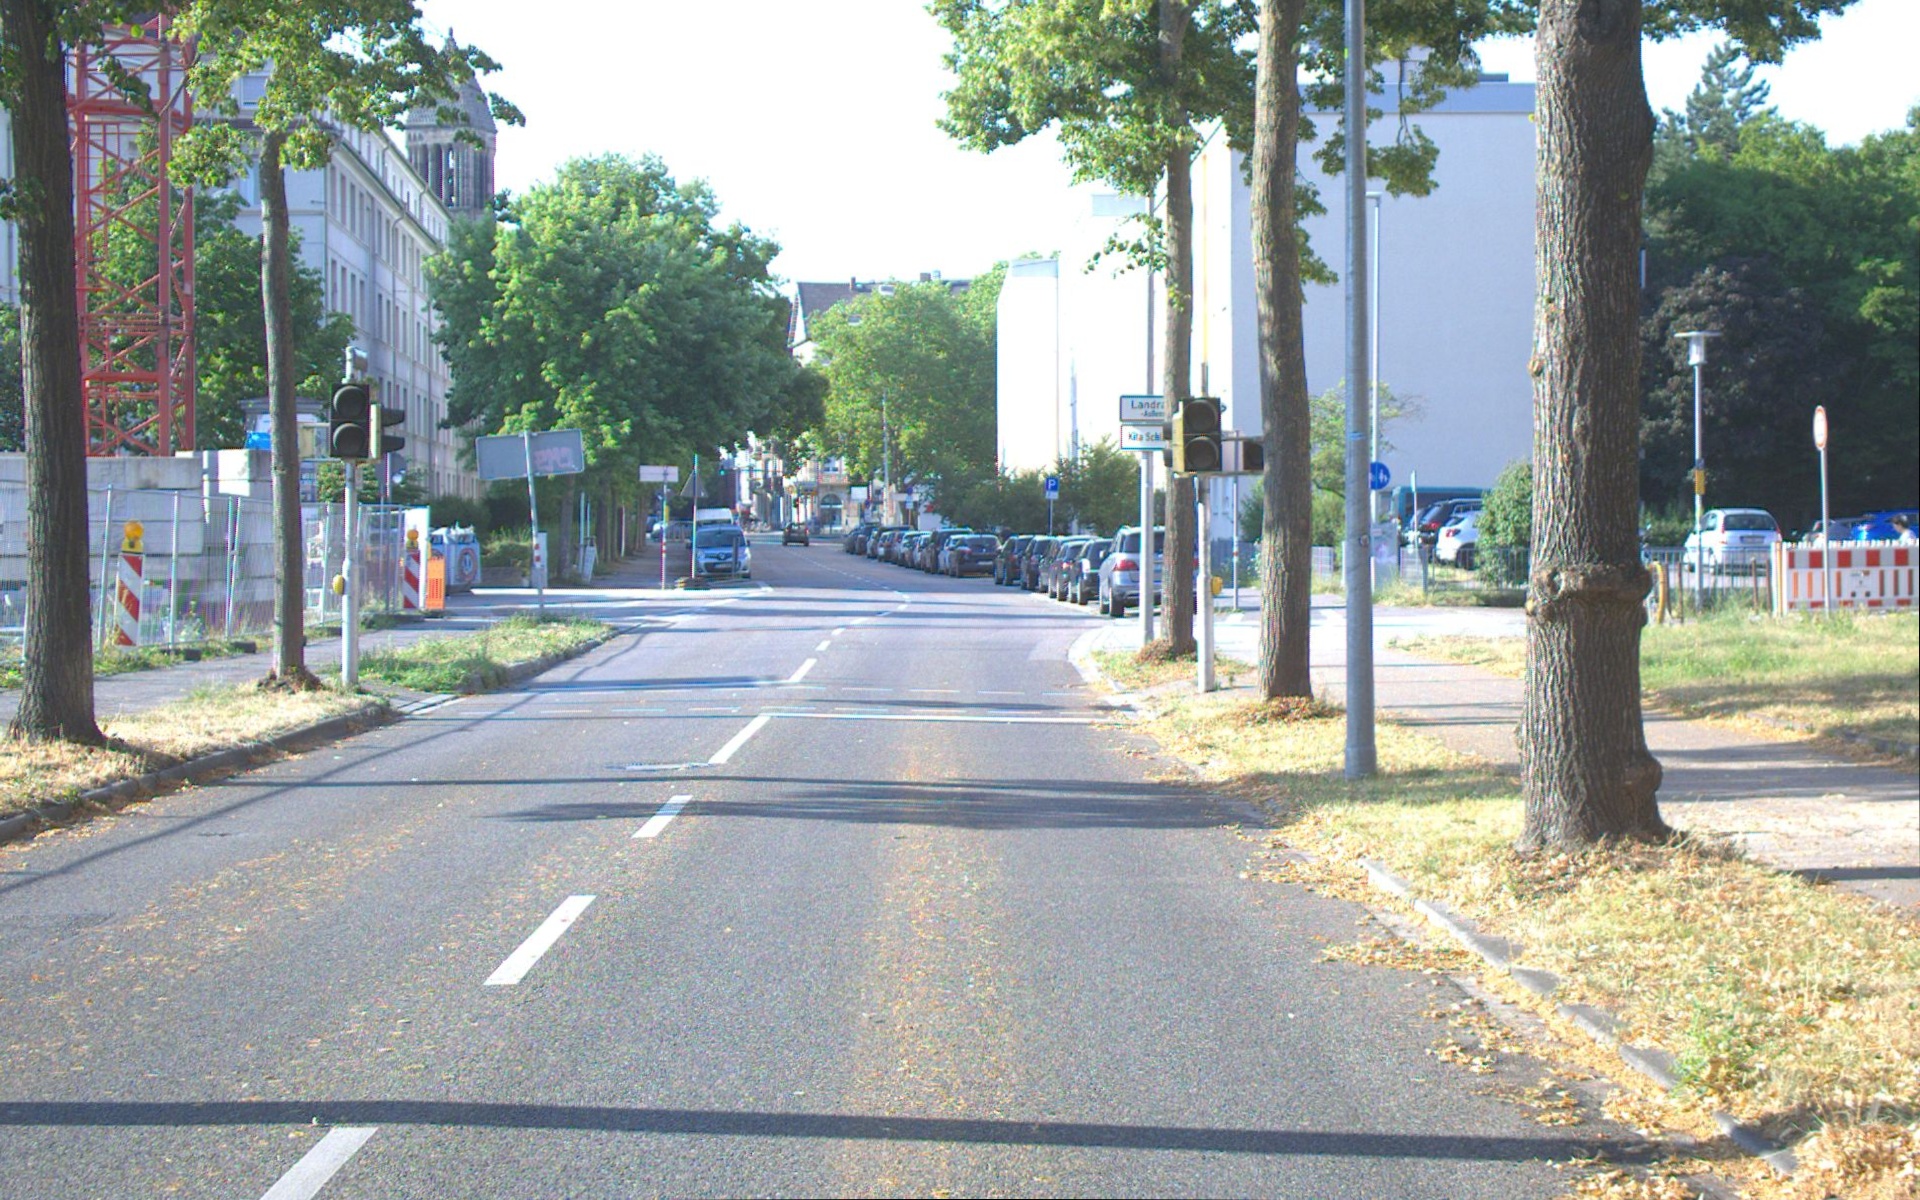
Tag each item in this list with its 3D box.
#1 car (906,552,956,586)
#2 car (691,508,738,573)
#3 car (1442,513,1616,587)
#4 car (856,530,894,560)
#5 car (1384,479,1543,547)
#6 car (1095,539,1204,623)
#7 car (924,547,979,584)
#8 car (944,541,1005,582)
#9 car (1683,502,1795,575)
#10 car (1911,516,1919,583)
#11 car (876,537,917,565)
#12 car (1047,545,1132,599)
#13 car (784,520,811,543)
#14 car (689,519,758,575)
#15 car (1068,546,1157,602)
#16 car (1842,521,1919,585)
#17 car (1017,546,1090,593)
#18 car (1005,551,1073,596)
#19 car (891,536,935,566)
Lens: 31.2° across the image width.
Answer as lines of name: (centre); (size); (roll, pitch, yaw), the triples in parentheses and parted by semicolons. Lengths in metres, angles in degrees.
car: (-1.205, -1.297, 142.660); (1.841, 1.381, 4.001); (-1, 1, -4)
car: (-12.281, -2.961, 171.835); (2.185, 3.120, 4.986); (-2, 1, -4)
car: (13.756, -1.201, 83.267); (3.988, 1.678, 2.000); (1, 0, 5)
car: (-4.777, -3.065, 192.728); (1.841, 1.381, 4.001); (-9, 1, -3)
car: (13.482, -2.320, 92.190); (3.987, 1.722, 1.773); (1, 1, 1)
car: (3.680, -0.384, 67.407); (1.841, 1.568, 4.000); (-1, 1, -1)
car: (-0.334, -1.314, 130.457); (1.841, 1.381, 4.001); (-1, 1, -4)
car: (0.491, -1.331, 119.726); (1.841, 1.381, 4.001); (-1, 1, -4)
car: (17.959, -1.402, 79.384); (1.812, 1.554, 3.625); (1, 0, 2)
car: (26.646, -1.255, 88.126); (3.987, 1.722, 1.773); (1, 1, 1)
car: (-3.158, -2.422, 169.709); (1.841, 1.381, 4.001); (-1, 1, -4)
car: (3.142, -0.703, 84.168); (1.841, 1.256, 4.000); (-1, 1, -1)
car: (-11.024, -4.663, 233.018); (1.714, 1.481, 4.001); (-1, 1, -4)
car: (-7.365, -1.623, 106.853); (1.993, 1.682, 4.001); (-1, 0, -6)
car: (3.477, -0.612, 78.855); (1.779, 1.223, 4.000); (-1, 1, -1)
car: (26.828, -1.278, 95.838); (3.987, 1.722, 1.773); (1, 1, 1)
car: (2.552, -0.856, 94.843); (1.841, 1.256, 4.000); (-1, 1, -1)
car: (2.322, -0.791, 101.495); (1.841, 1.256, 4.000); (-1, 1, -1)
car: (-2.257, -2.320, 163.410); (1.841, 1.381, 4.001); (-1, 1, -4)
